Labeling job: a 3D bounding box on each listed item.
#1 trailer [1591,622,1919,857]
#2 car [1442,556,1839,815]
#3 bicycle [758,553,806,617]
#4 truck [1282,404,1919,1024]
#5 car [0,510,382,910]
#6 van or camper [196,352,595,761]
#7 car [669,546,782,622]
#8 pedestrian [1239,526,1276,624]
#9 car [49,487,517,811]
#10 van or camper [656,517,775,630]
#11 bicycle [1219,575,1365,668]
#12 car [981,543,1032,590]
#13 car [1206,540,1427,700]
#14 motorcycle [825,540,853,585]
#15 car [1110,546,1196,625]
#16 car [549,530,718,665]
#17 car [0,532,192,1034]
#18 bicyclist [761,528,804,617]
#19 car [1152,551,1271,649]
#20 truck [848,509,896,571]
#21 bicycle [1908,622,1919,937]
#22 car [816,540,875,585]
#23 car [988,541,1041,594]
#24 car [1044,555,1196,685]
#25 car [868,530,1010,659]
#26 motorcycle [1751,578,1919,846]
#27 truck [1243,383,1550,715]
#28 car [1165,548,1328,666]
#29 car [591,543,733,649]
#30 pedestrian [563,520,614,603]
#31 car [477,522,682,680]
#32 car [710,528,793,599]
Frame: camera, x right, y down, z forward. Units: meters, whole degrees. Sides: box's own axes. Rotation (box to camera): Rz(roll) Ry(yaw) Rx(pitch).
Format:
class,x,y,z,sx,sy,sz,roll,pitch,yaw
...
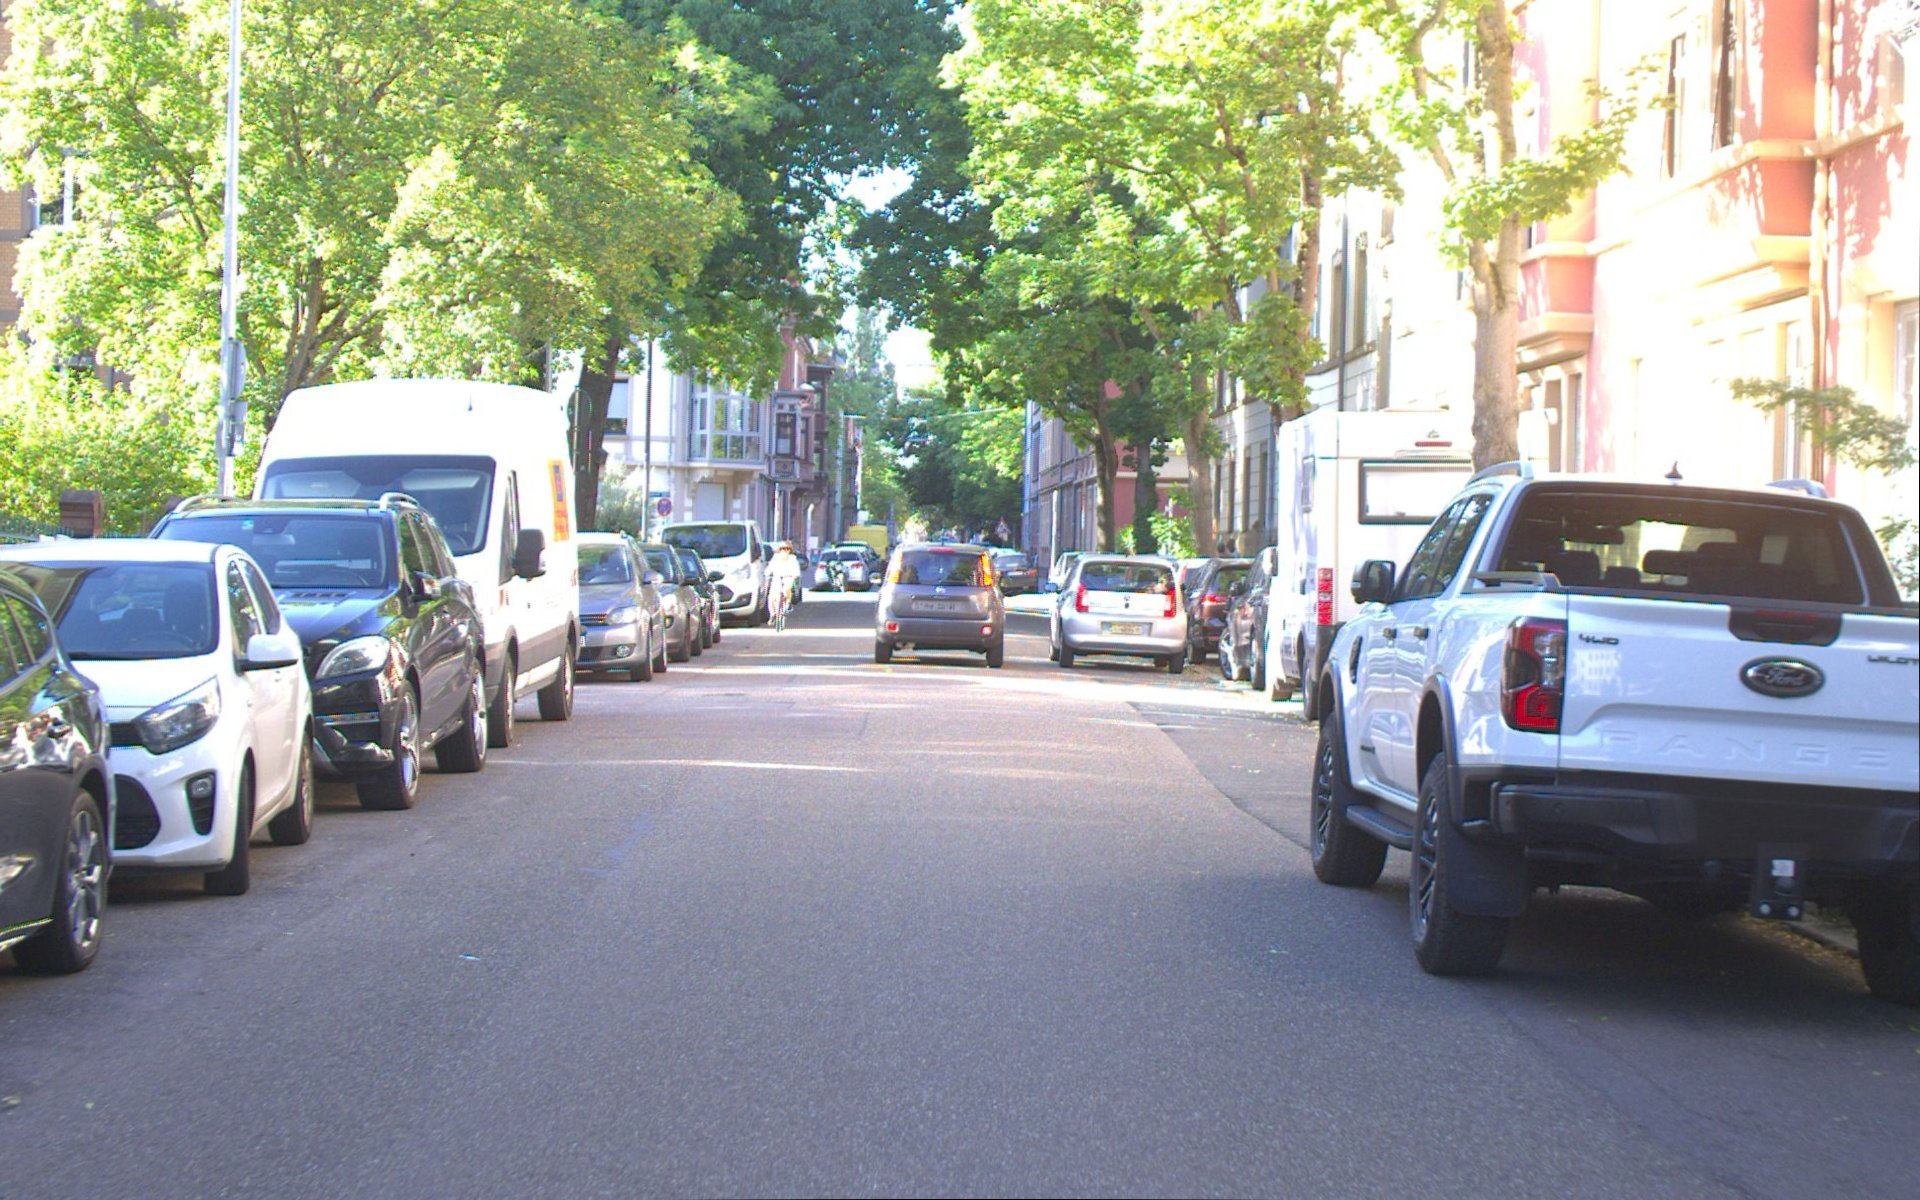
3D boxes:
class,x,y,z,sx,sy,sz,roll,pitch,yaw
trailer,4.478,0.717,17.764,2.079,1.108,1.116,2,1,-14
car,4.465,0.490,23.255,1.751,1.524,4.781,1,1,0
bicycle,-3.046,-0.265,58.916,0.665,1.073,1.685,1,1,2
truck,2.523,0.320,13.824,1.828,1.942,5.541,2,1,0
car,-3.710,0.406,15.409,1.635,1.546,4.089,1,0,-1
van or camper,-4.138,-0.350,26.237,2.128,2.759,5.852,0,1,-1
car,-4.710,-0.350,69.643,2.001,1.452,4.606,-1,1,0
pedestrian,5.307,-0.454,61.354,0.520,1.729,0.878,1,1,0
car,-3.861,0.205,20.477,1.875,1.679,4.970,0,1,-1
van or camper,-4.515,-0.516,64.123,1.921,1.973,5.462,-1,1,-2
bicycle,4.273,0.268,44.274,1.811,1.163,0.569,-1,1,-1
car,1.578,-1.163,118.629,1.663,1.500,3.757,3,1,0
car,4.113,0.176,40.411,1.885,1.710,4.945,1,1,-2
motorcycle,-3.989,-1.253,113.290,0.696,1.455,1.751,0,1,-10
car,3.900,-0.313,69.867,1.520,1.505,3.544,1,1,0
car,-4.059,-0.074,43.297,1.676,1.567,4.152,-1,1,0
car,-3.790,0.546,10.653,1.766,1.516,4.825,1,1,0
bicyclist,-3.033,-0.479,58.892,0.651,1.503,0.624,1,1,1
car,3.989,-0.022,55.035,1.596,1.483,3.748,1,1,0
truck,-4.318,-2.963,169.188,2.070,2.916,5.068,-2,1,0
bicycle,4.869,0.771,14.102,1.759,1.300,0.586,2,1,-2
car,-3.881,-1.287,116.588,1.797,1.427,3.925,-2,1,1
car,1.786,-1.091,114.135,1.663,1.663,3.757,3,1,0
car,2.076,0.231,45.487,1.679,1.539,3.800,3,1,-1
car,-0.299,-0.104,43.582,1.632,1.545,3.265,1,1,-3
motorcycle,5.248,0.608,19.711,0.861,1.411,2.234,2,1,0
truck,4.180,-0.518,33.987,2.073,2.958,6.110,-1,1,-1
car,4.016,0.061,48.813,1.786,1.508,4.460,2,1,-1
car,-4.252,-0.094,49.597,1.713,1.390,4.780,-2,1,-2
pedestrian,-7.201,-0.749,66.681,0.881,1.572,0.529,2,1,0
car,-4.039,-0.035,37.091,1.780,1.585,4.469,-1,1,-1
car,-4.822,-0.855,79.946,1.824,1.548,4.134,-2,1,-3
